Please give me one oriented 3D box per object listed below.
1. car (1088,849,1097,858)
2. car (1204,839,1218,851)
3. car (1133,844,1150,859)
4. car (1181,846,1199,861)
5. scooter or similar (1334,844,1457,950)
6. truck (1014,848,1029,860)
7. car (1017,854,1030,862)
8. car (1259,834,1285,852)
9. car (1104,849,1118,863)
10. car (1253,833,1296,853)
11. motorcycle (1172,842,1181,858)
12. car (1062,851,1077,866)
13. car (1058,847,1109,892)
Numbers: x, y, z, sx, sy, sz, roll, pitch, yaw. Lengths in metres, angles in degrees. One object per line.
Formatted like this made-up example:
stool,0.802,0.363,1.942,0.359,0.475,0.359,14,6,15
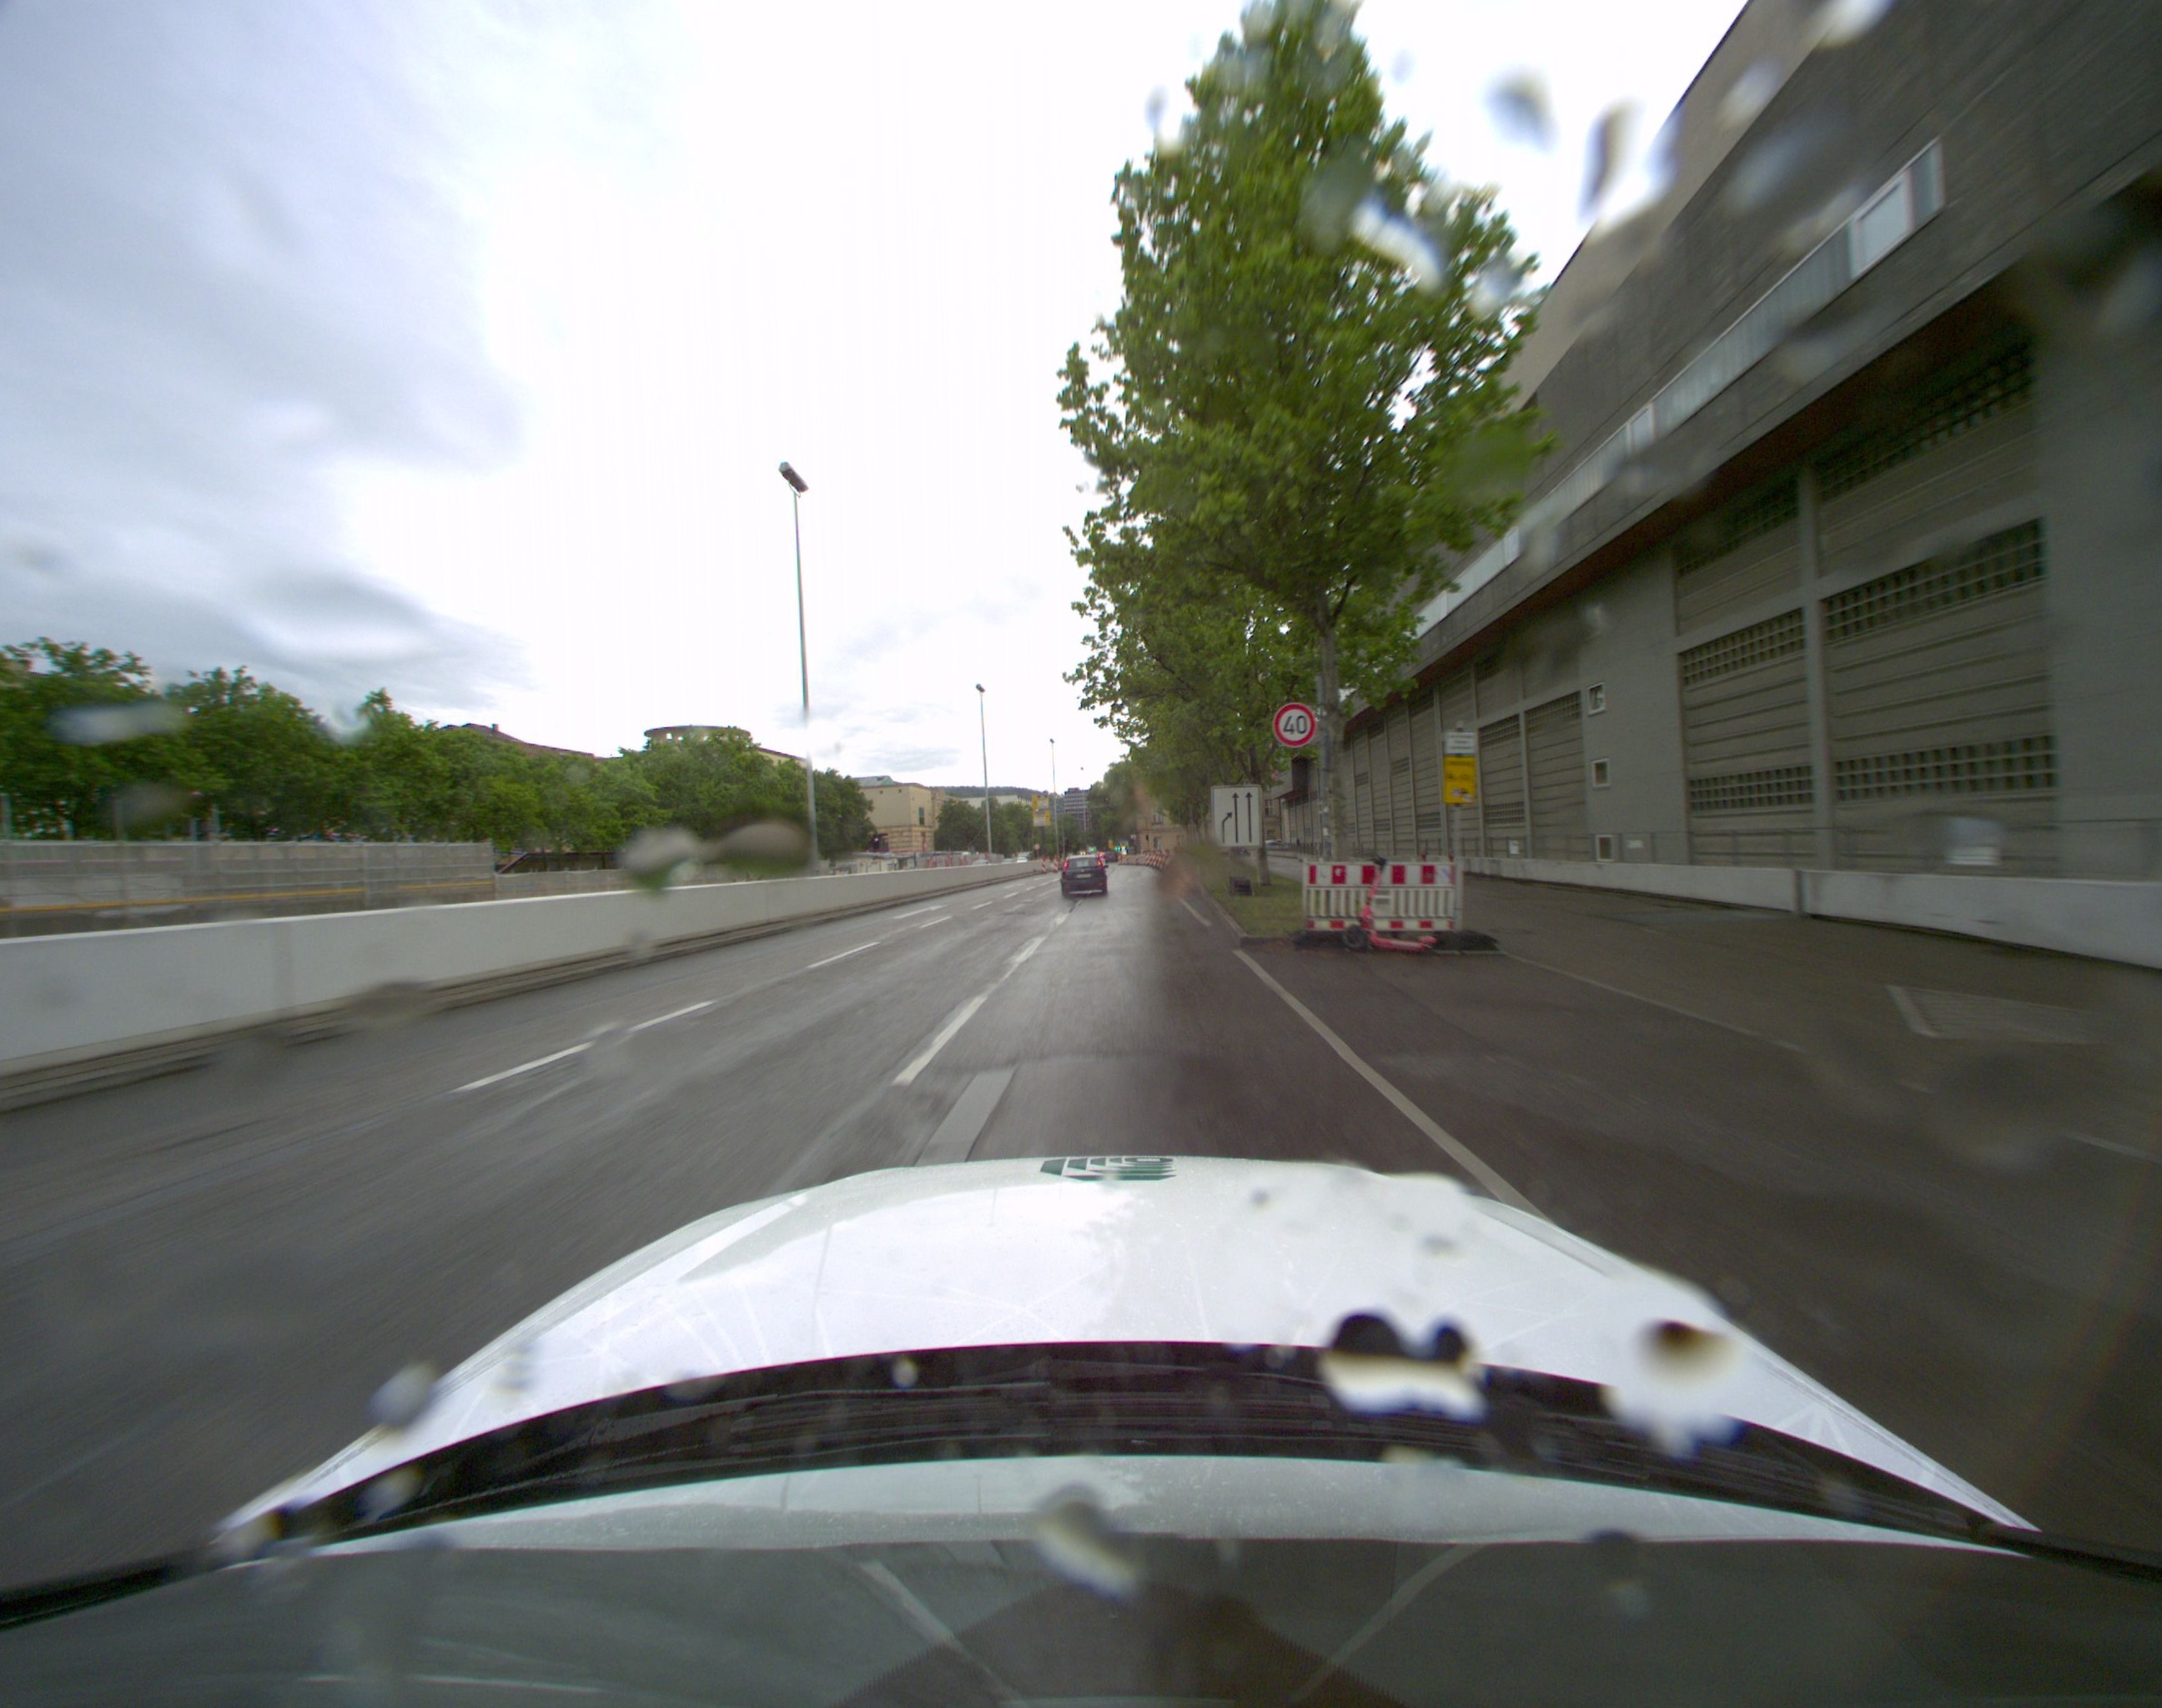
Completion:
car,2.824,-0.161,203.102,1.988,2.014,3.998,-1,-1,-1
car,19.244,-1.291,120.816,1.982,1.708,4.009,-2,-1,8
car,7.412,-0.363,100.823,1.985,1.708,4.004,-2,1,4
car,13.353,-0.066,99.499,1.982,1.708,4.010,-2,1,8
scooter or similar,3.989,0.534,10.407,1.349,1.285,0.620,1,-1,5
truck,-12.333,0.035,169.234,2.405,2.339,5.444,-1,-1,1
car,-8.735,0.565,124.210,1.619,1.195,3.408,-2,0,3
car,21.622,-1.225,92.366,1.984,1.760,5.102,-4,-1,4
car,4.630,0.243,124.406,1.985,2.013,4.004,-2,1,4
car,20.019,-1.139,84.491,3.969,1.559,1.935,-5,-3,4
motorcycle,11.744,-0.510,100.126,0.826,1.830,3.150,-4,0,8
car,-1.141,0.419,80.694,1.381,1.386,3.066,-4,0,-1
car,0.089,0.518,29.986,1.665,1.427,3.757,-5,0,0
